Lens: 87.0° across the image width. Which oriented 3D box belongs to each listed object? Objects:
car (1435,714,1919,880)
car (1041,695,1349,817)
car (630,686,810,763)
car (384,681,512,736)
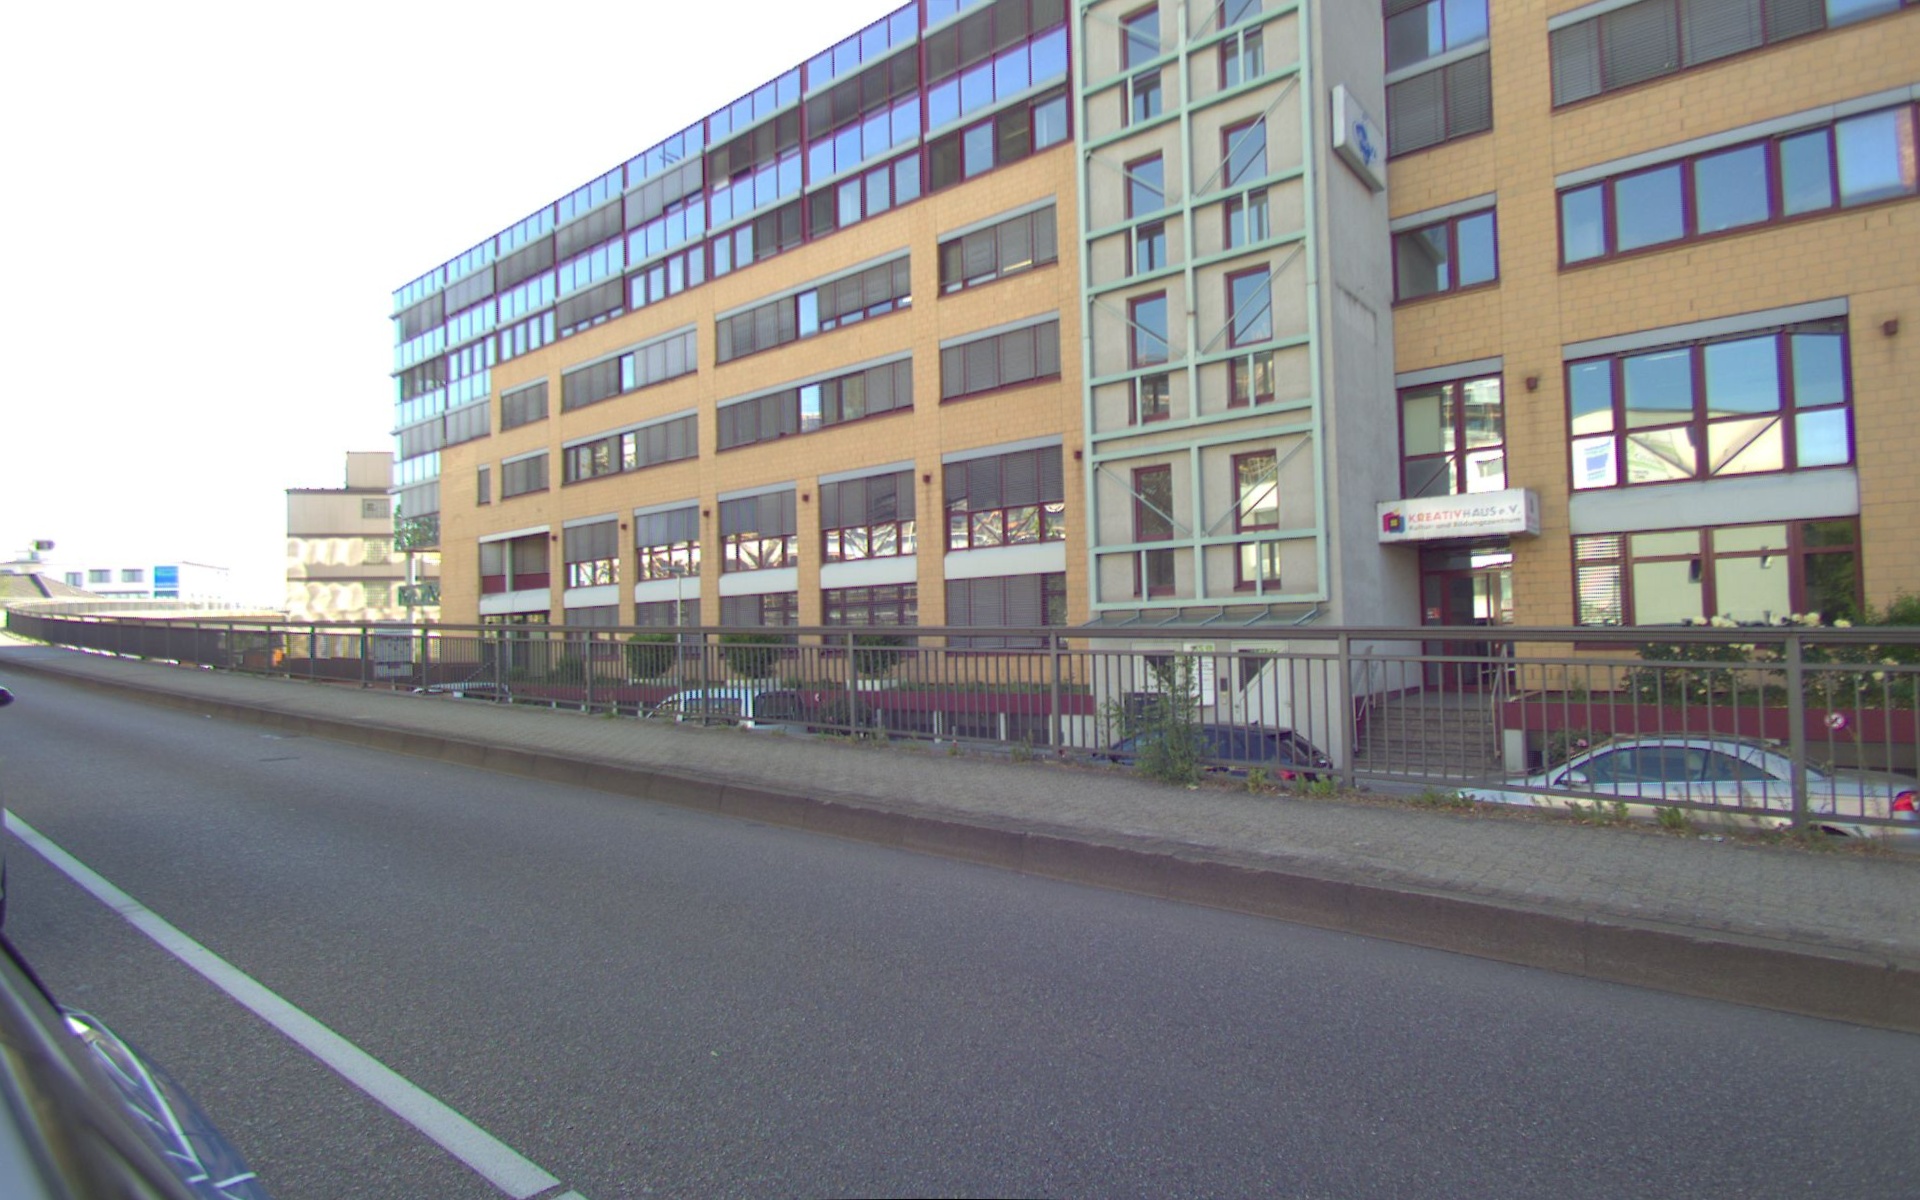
[{"bbox_3d":[7.420,1.896,10.445,4.254,1.175,1.704,-3,-4,40],"label":"car"},{"bbox_3d":[3.114,2.017,13.819,3.805,1.279,1.560,-3,-4,39],"label":"car"},{"bbox_3d":[-4.875,2.431,20.346,3.805,1.279,1.560,-3,-4,39],"label":"car"},{"bbox_3d":[-14.112,2.929,27.831,3.805,1.279,1.744,-3,-4,39],"label":"car"}]
